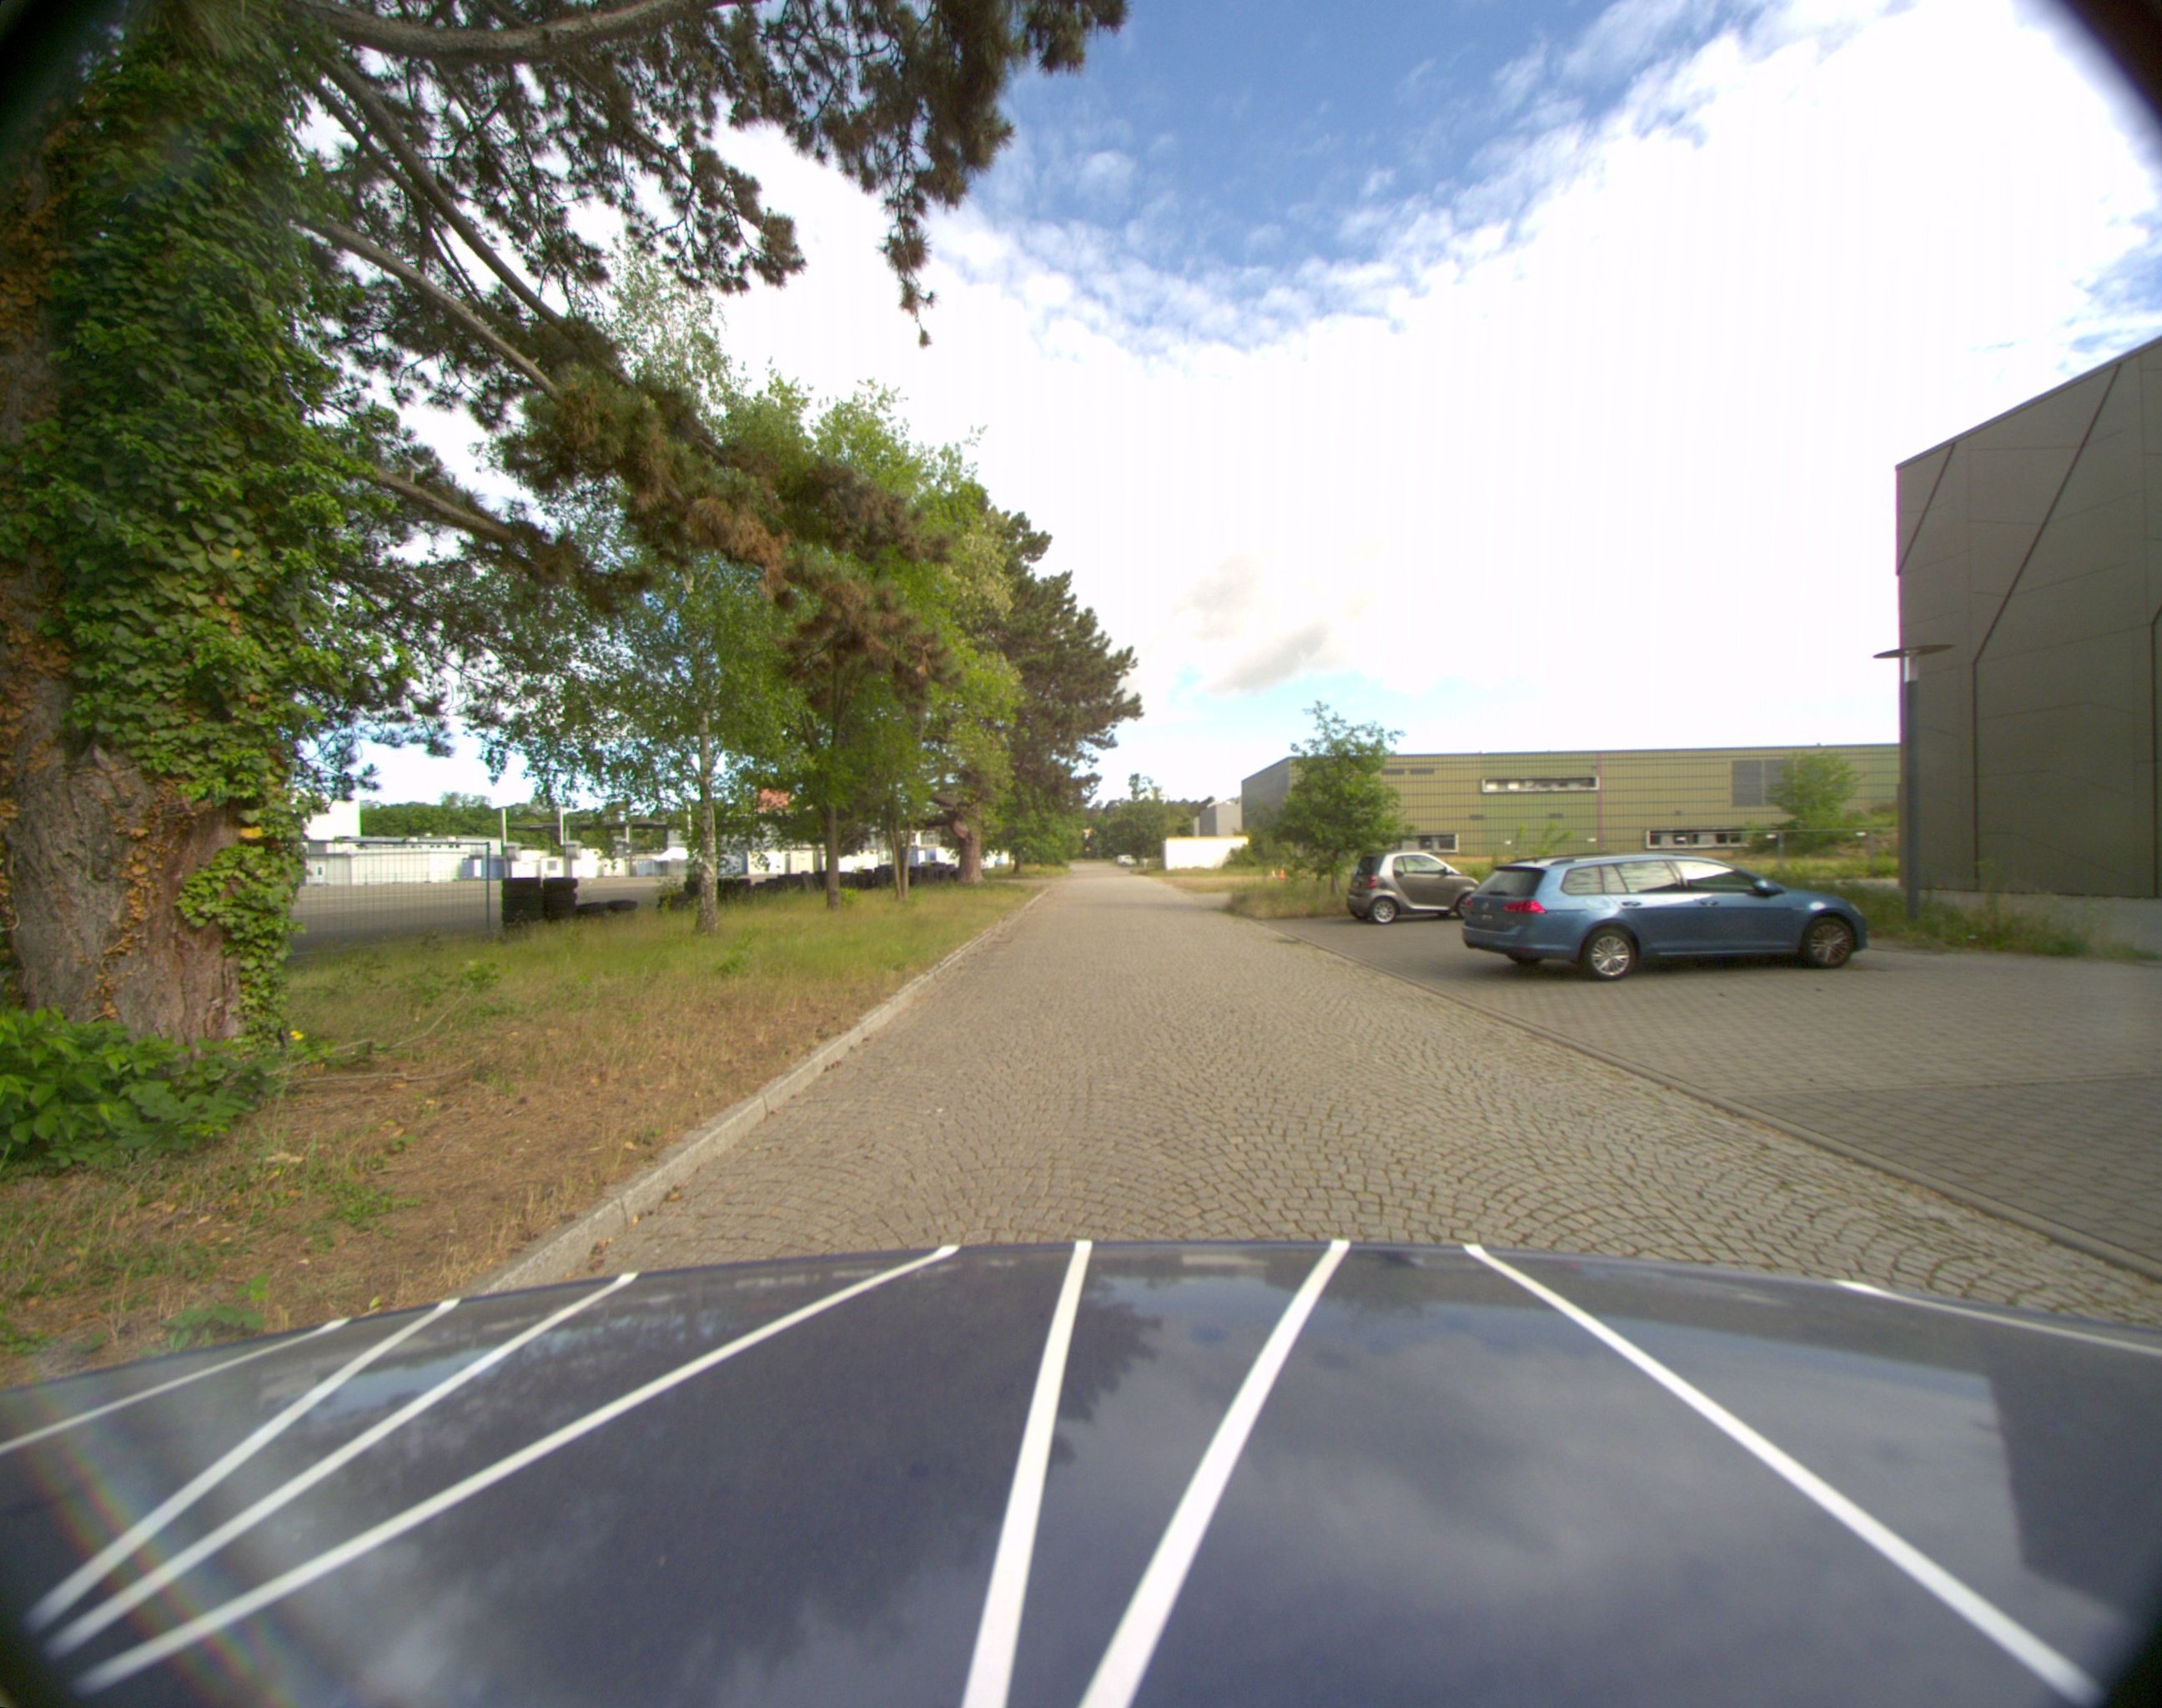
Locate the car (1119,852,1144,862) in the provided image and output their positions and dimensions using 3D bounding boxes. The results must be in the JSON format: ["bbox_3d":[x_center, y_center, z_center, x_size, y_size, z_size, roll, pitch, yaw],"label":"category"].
[{"bbox_3d":[8.297,0.487,124.186,3.996,1.604,1.797,-1,0,4],"label":"car"}]

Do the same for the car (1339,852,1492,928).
[{"bbox_3d":[7.392,0.758,16.962,2.661,1.502,1.610,-3,0,0],"label":"car"}]

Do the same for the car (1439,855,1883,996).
[{"bbox_3d":[7.144,0.822,9.654,4.317,1.420,1.773,-3,0,-2],"label":"car"}]
